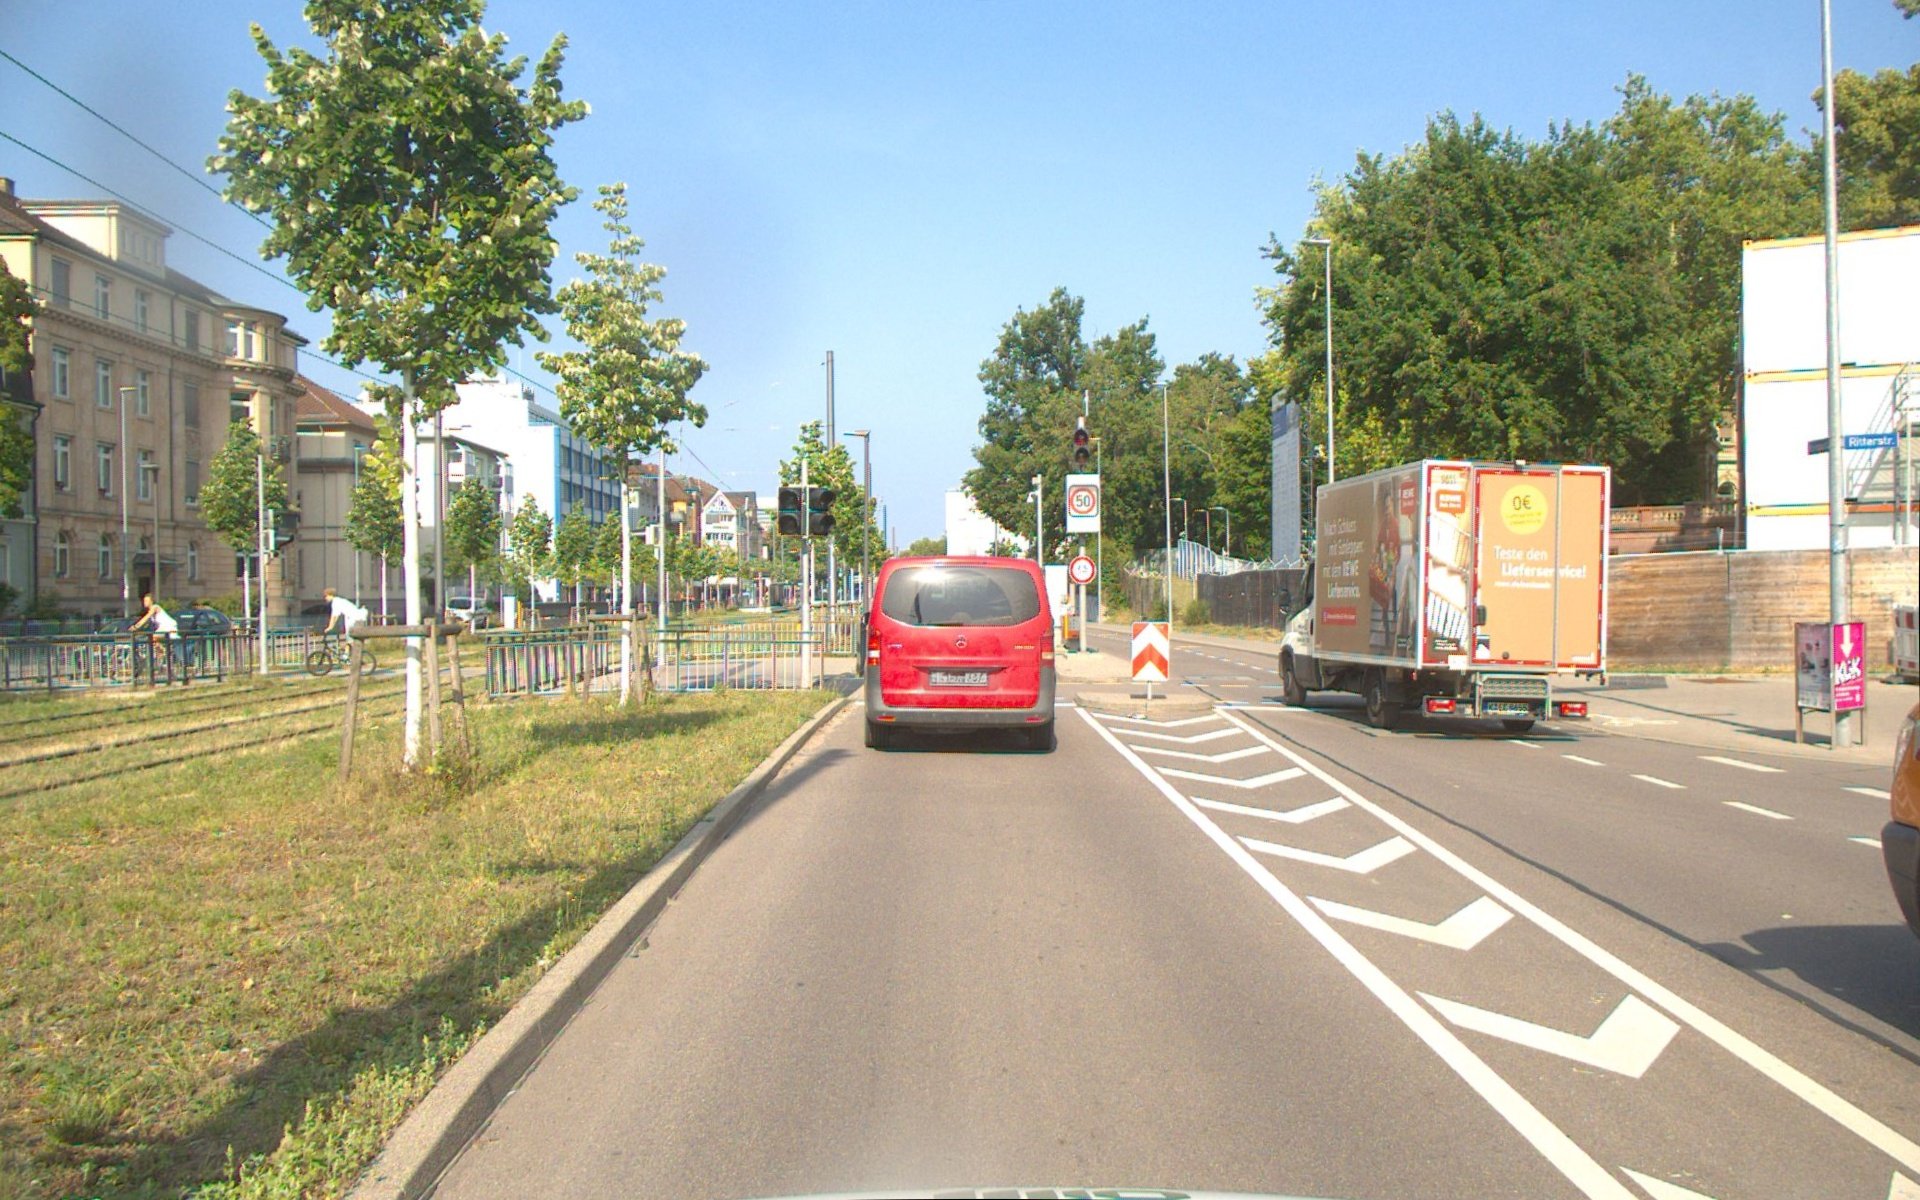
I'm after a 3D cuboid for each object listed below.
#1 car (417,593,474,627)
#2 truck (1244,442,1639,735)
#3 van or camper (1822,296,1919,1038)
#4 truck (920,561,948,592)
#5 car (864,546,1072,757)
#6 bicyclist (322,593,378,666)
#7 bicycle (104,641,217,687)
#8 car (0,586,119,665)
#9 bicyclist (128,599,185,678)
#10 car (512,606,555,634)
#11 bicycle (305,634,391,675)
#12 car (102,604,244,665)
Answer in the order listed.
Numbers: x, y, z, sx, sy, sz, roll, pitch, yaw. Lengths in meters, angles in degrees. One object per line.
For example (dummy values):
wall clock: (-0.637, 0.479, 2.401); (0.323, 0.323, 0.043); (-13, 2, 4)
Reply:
car: (-33.348, 0.676, 107.314); (2.204, 2.049, 5.259); (1, -2, -3)
truck: (5.904, -0.095, 21.843); (2.453, 3.114, 7.814); (1, 0, -4)
van or camper: (4.120, 0.244, 3.230); (1.944, 2.515, 6.063); (0, 0, 3)
truck: (-3.405, -2.905, 211.619); (3.323, 3.791, 10.447); (-1, 0, -2)
car: (0.069, 0.470, 17.099); (1.862, 1.892, 4.000); (1, 0, 0)
bicyclist: (-12.521, 0.608, 33.943); (0.672, 1.465, 0.805); (1, -1, 27)
bicycle: (-15.722, 1.248, 32.574); (1.970, 0.807, 0.624); (-1, 0, -25)
car: (-25.271, 0.669, 45.299); (1.954, 2.049, 5.299); (-1, 0, -3)
bicyclist: (-15.803, 0.743, 32.532); (0.971, 1.526, 0.616); (-1, 0, -25)
car: (-29.247, 1.366, 113.479); (1.879, 1.844, 3.999); (1, 0, -1)
bicycle: (-12.539, 1.105, 33.930); (0.704, 0.812, 1.602); (1, -1, 27)
car: (-21.466, 0.898, 45.326); (1.954, 1.539, 4.395); (-1, 0, -3)
